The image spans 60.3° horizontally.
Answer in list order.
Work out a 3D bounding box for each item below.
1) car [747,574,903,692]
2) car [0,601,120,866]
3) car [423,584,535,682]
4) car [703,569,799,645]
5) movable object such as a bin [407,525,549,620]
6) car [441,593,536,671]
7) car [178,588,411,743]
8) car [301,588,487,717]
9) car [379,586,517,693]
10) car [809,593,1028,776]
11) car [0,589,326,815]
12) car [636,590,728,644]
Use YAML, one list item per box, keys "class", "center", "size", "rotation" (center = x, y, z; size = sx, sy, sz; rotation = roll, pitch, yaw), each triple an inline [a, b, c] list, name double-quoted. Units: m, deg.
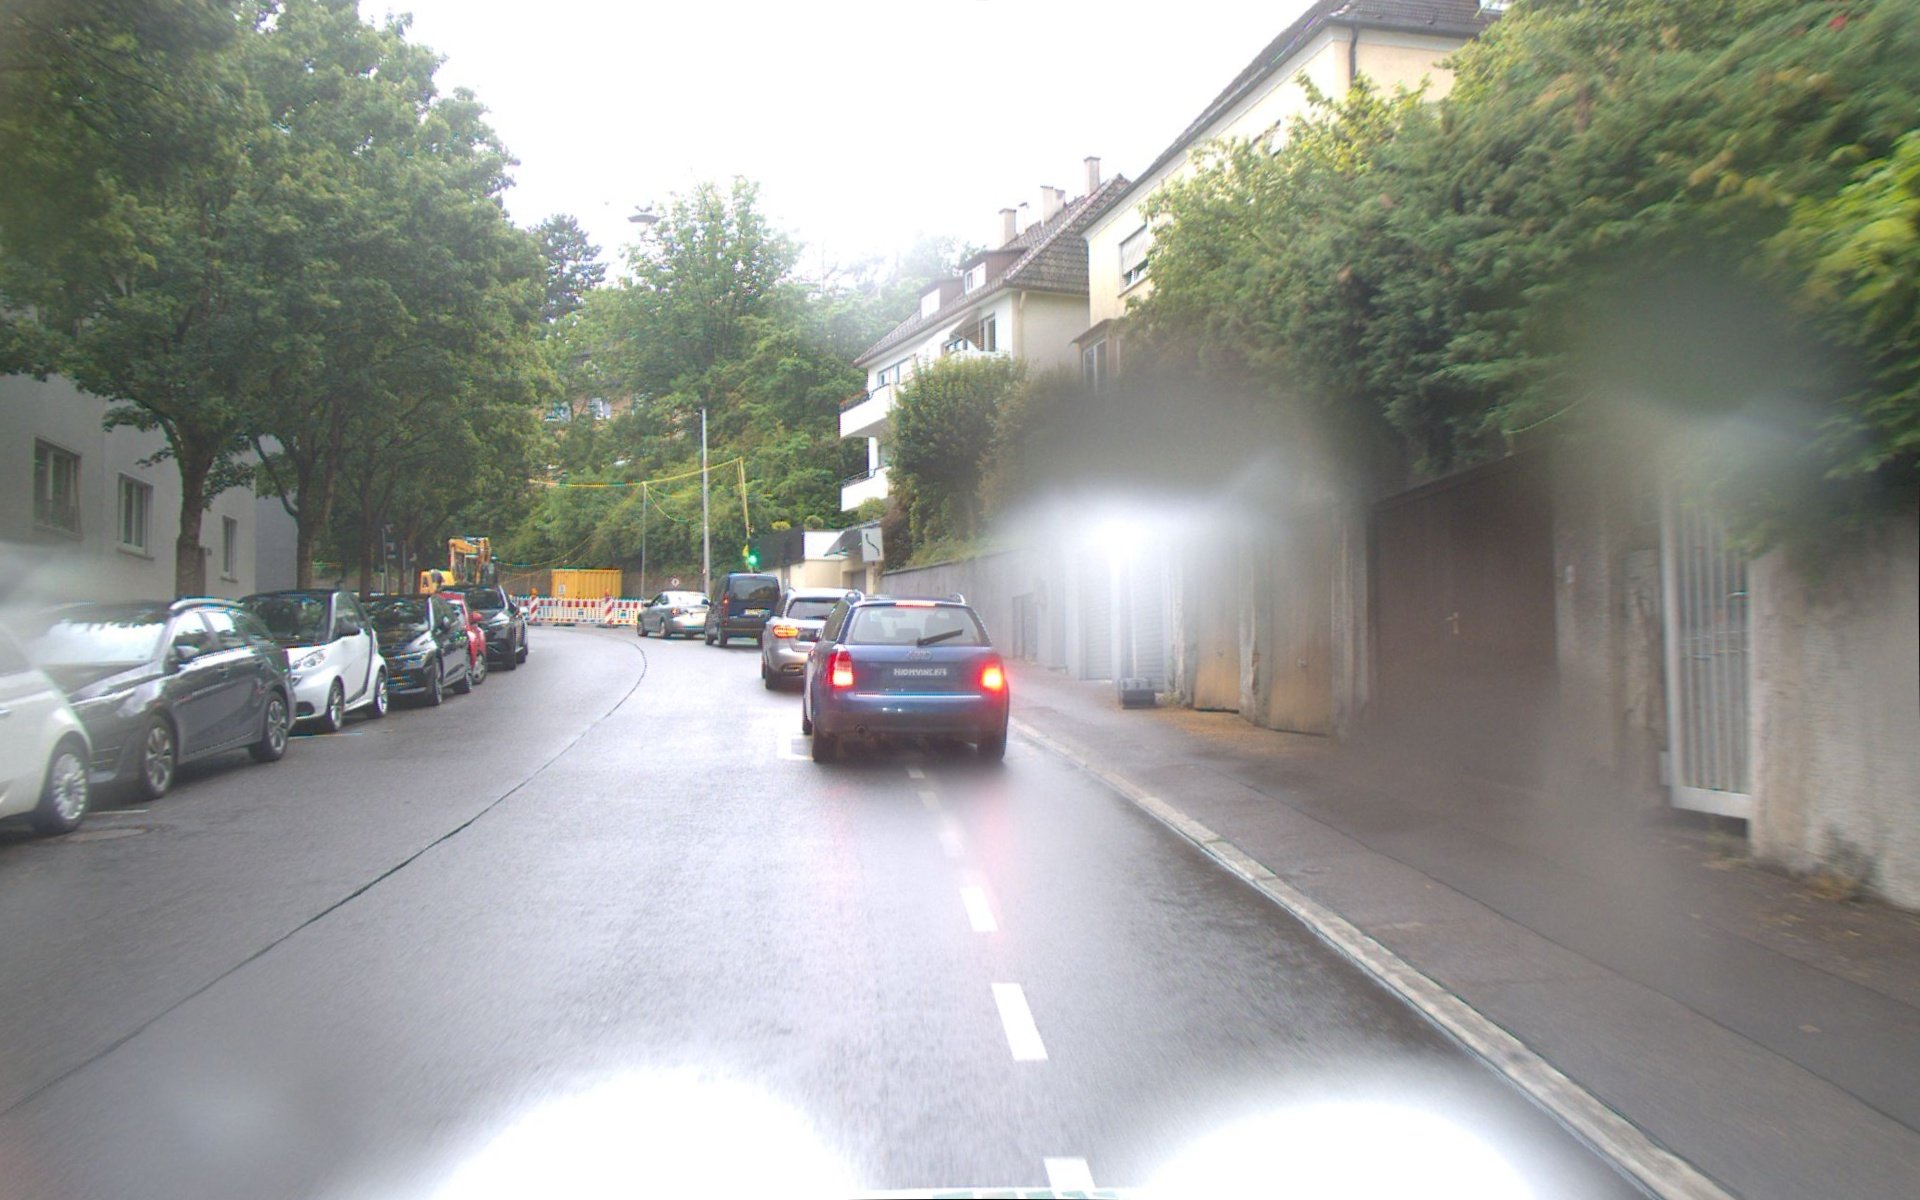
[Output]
- class: "car"
  center: [-2.171, 0.435, 25.459]
  size: [1.892, 1.646, 4.308]
  rotation: [0, 1, -12]
- class: "car"
  center: [-6.378, 0.848, 9.406]
  size: [1.543, 1.514, 3.467]
  rotation: [-4, 1, -4]
- class: "car"
  center: [-9.531, 0.583, 33.046]
  size: [1.653, 1.636, 4.563]
  rotation: [-6, 2, -12]
- class: "car"
  center: [-5.441, 0.154, 42.609]
  size: [1.960, 1.825, 3.985]
  rotation: [-2, 1, -14]
- class: "movable object such as a bin"
  center: [-21.763, -1.242, 74.436]
  size: [7.197, 4.084, 2.812]
  rotation: [1, 1, 42]
- class: "car"
  center: [-10.703, 0.673, 37.768]
  size: [1.652, 1.534, 4.303]
  rotation: [-3, 1, -11]
- class: "car"
  center: [-7.584, 0.702, 19.162]
  size: [1.525, 1.537, 3.379]
  rotation: [-3, 0, -6]
- class: "car"
  center: [-7.719, 0.674, 22.912]
  size: [1.526, 1.514, 4.091]
  rotation: [-4, 0, -7]
- class: "car"
  center: [-8.482, 0.633, 27.677]
  size: [1.603, 1.592, 3.840]
  rotation: [-2, 0, -9]
- class: "car"
  center: [-0.514, 0.675, 15.477]
  size: [1.751, 1.467, 3.959]
  rotation: [0, 0, -6]
- class: "car"
  center: [-6.847, 0.745, 13.696]
  size: [1.632, 1.514, 4.471]
  rotation: [-4, 0, -4]
- class: "car"
  center: [-8.536, 0.493, 50.473]
  size: [1.700, 1.512, 4.042]
  rotation: [-2, 1, -26]
